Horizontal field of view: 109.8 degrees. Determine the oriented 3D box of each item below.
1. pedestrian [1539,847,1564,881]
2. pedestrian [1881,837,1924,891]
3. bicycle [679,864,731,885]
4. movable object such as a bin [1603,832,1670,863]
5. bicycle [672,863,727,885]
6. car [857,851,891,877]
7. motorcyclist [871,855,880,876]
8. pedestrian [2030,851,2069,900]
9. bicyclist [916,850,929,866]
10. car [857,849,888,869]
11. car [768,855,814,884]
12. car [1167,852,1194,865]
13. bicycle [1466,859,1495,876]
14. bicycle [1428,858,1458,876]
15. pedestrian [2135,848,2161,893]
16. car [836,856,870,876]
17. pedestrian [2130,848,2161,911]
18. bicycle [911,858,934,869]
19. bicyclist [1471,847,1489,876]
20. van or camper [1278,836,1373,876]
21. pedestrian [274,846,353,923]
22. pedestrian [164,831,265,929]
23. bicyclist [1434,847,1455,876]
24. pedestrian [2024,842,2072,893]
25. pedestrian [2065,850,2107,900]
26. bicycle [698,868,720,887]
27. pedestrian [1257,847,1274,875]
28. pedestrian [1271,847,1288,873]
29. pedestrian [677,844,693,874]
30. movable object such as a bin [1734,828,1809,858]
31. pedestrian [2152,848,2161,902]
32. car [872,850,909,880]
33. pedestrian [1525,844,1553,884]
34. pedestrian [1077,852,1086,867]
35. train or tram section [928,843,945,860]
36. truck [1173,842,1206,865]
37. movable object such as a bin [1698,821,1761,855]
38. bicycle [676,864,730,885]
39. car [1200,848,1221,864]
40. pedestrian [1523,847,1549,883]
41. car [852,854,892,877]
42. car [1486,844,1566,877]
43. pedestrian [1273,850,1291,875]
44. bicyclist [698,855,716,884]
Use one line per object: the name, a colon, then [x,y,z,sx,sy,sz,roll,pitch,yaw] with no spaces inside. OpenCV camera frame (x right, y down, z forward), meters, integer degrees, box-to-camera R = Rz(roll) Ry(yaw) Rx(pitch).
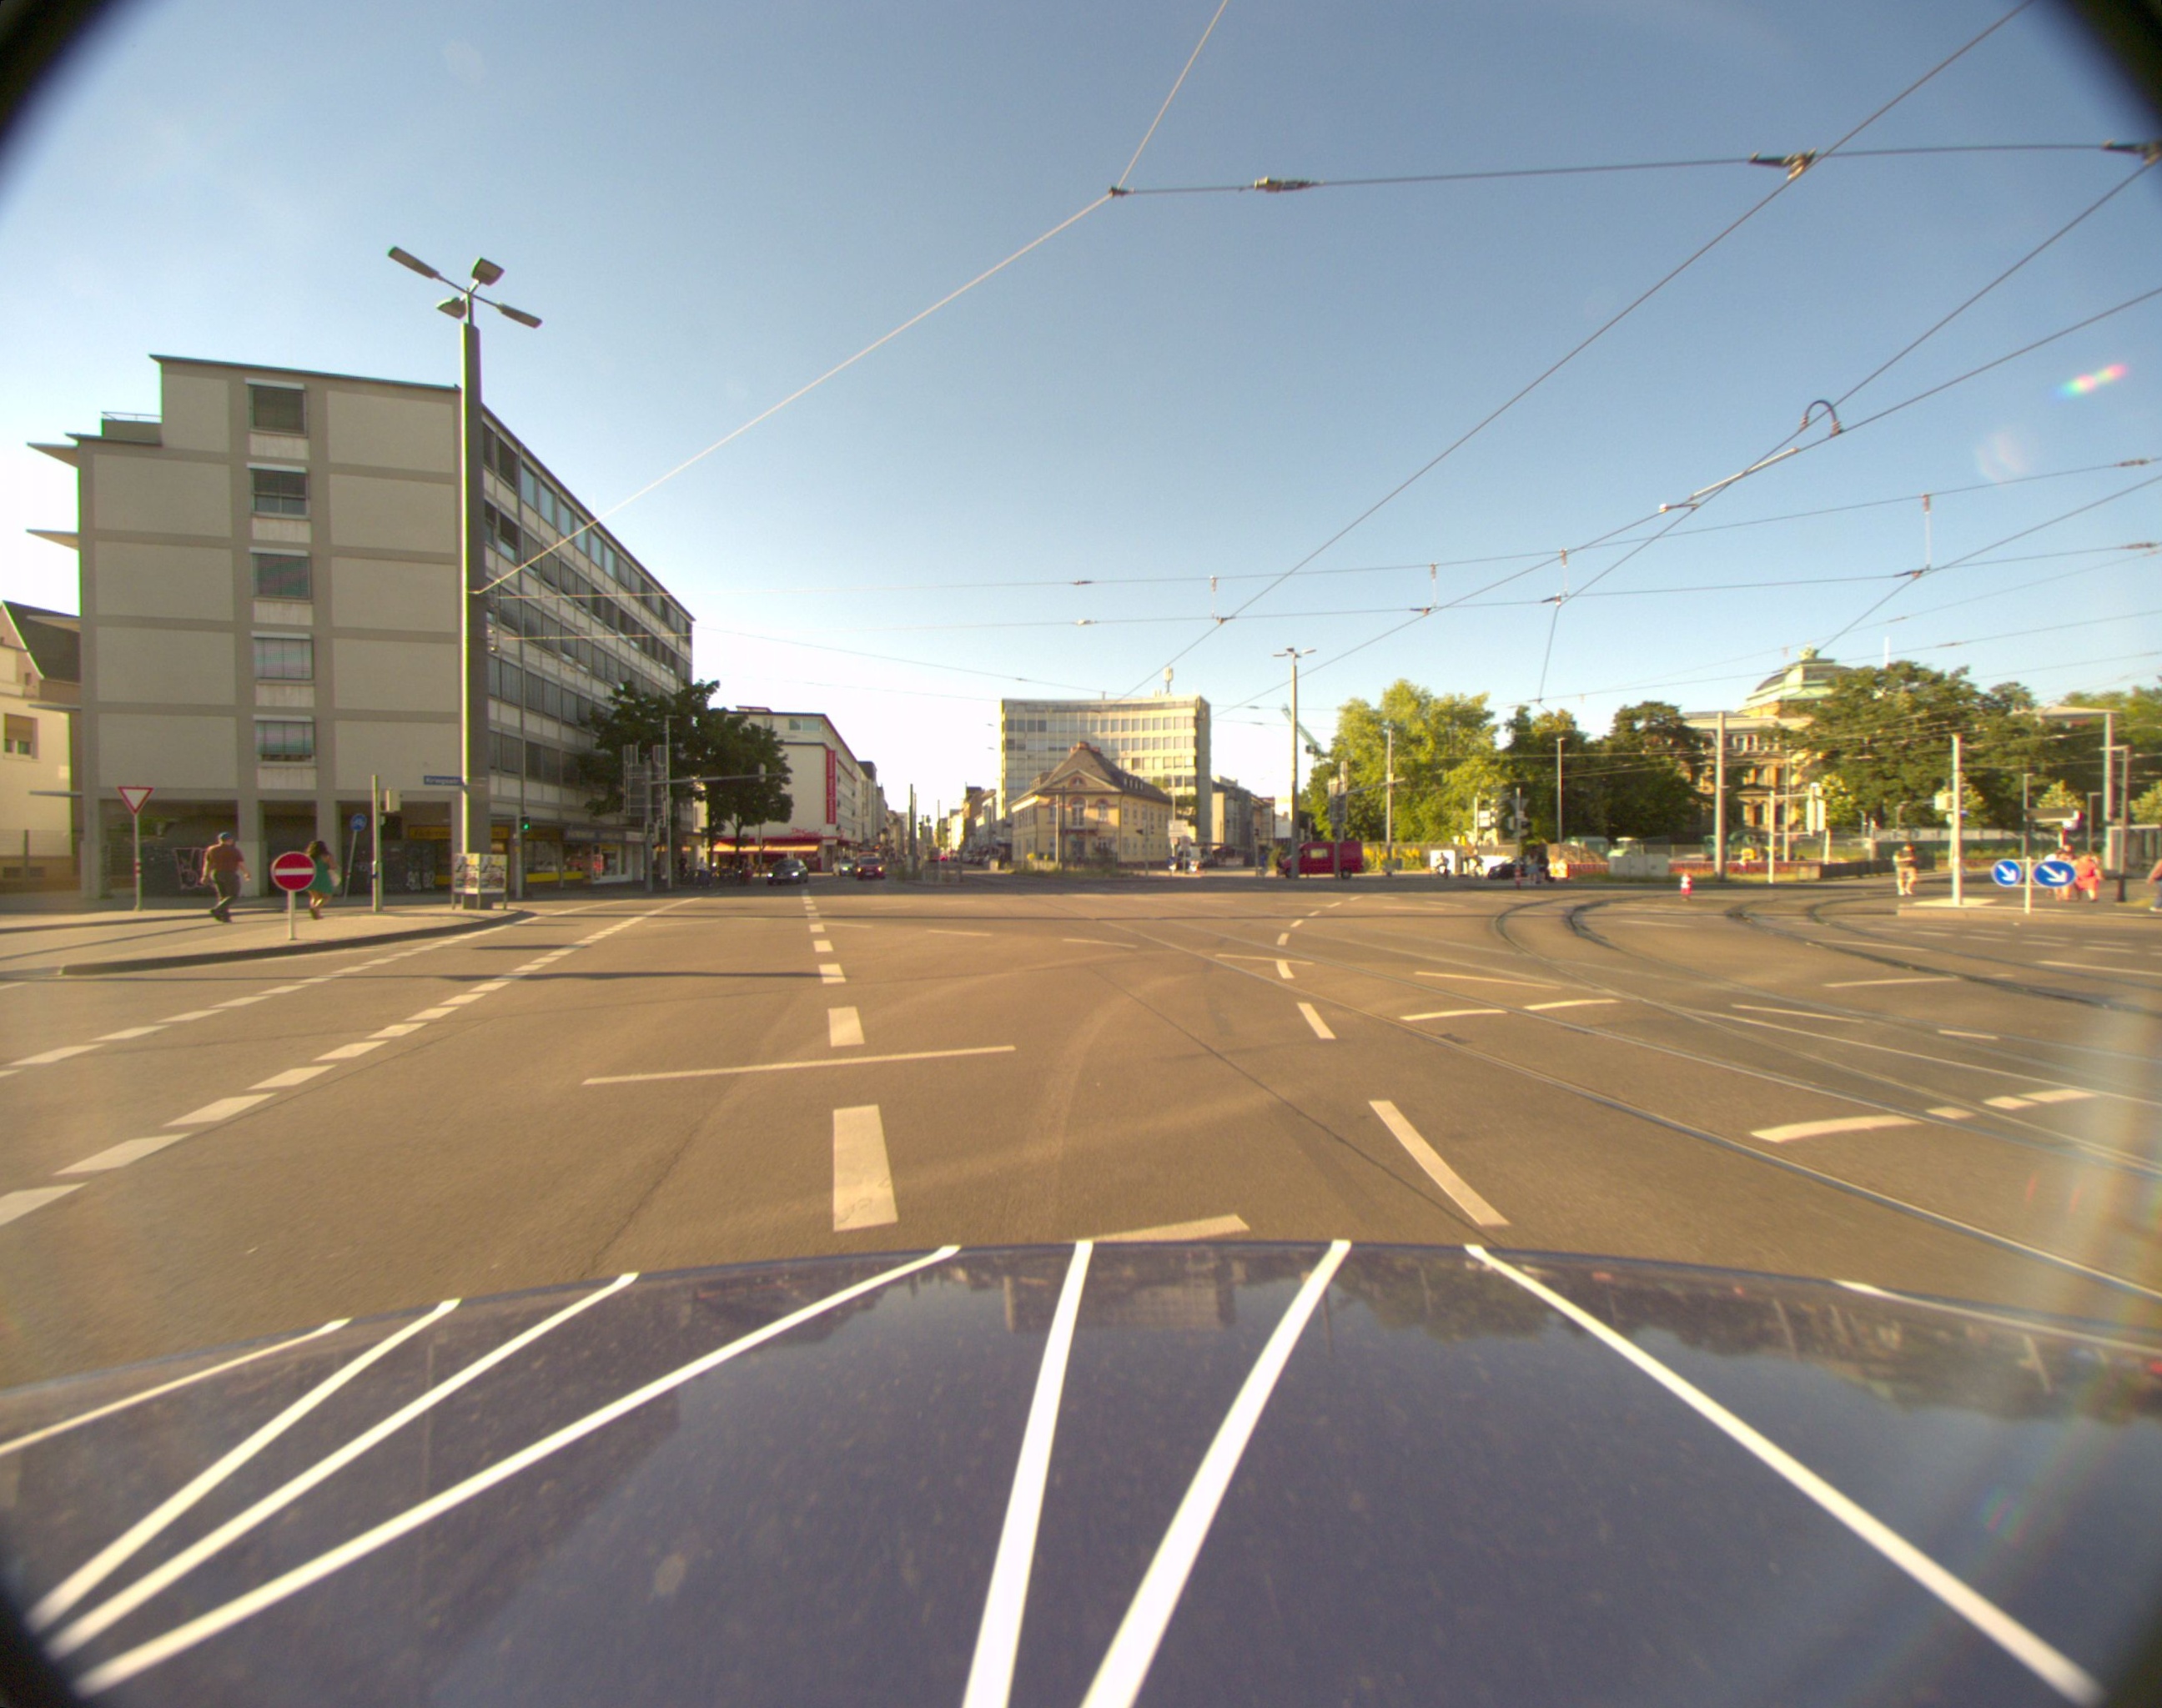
pedestrian: [22.974,0.498,37.143,0.620,1.630,0.787,-1,-1,-19]
pedestrian: [28.594,0.345,26.460,0.620,1.852,0.787,-1,-1,-14]
bicycle: [-21.863,1.189,44.281,2.644,1.136,0.750,2,-2,-23]
movable object such as a bin: [50.046,-0.546,68.434,5.015,2.667,1.998,-1,-1,-13]
bicycle: [-21.129,1.129,42.167,2.644,1.136,0.750,2,-2,-23]
car: [-13.326,0.653,49.023,1.845,1.608,3.996,-1,-1,-12]
motorcyclist: [-14.312,0.794,52.882,0.535,1.499,0.461,-1,-1,-12]
pedestrian: [28.726,0.635,22.542,0.636,1.447,0.526,-2,-1,44]
bicyclist: [-14.580,0.329,69.777,0.722,1.448,0.900,-1,-1,41]
car: [-19.921,0.542,72.730,1.903,1.831,4.626,-1,-1,-3]
car: [-16.764,0.901,44.034,1.845,1.608,4.077,-1,-1,-12]
car: [11.007,0.546,83.885,1.710,1.356,4.203,-1,-1,25]
bicycle: [24.484,0.826,46.561,1.695,0.995,0.542,-1,-1,-22]
bicycle: [21.937,0.778,46.081,1.810,1.094,0.542,-1,-1,-22]
pedestrian: [37.940,0.568,26.659,0.840,1.574,0.684,-1,-1,10]
car: [-18.585,0.986,61.737,1.847,1.608,3.991,-1,-1,-29]
pedestrian: [26.699,0.611,18.701,0.786,1.526,0.620,-1,-1,13]
bicycle: [-14.546,0.857,69.785,0.722,0.942,1.996,-2,-1,41]
bicyclist: [24.415,0.454,46.503,0.793,1.735,0.615,-1,-1,-22]
van or camper: [16.257,0.168,50.895,5.902,2.514,2.003,-1,-1,15]
pedestrian: [-14.905,0.577,14.783,0.857,1.444,0.706,-1,-1,-21]
pedestrian: [-17.189,0.502,15.113,0.857,1.872,1.196,-1,-1,-21]
bicyclist: [22.114,0.438,46.172,1.061,1.757,0.542,-1,-1,-22]
pedestrian: [32.564,0.463,25.586,0.620,1.688,0.787,-1,-1,-14]
pedestrian: [29.190,0.611,22.081,0.636,1.423,0.526,-1,-1,42]
bicycle: [-19.104,1.198,39.054,0.671,0.934,2.028,-1,-1,-18]
pedestrian: [11.842,0.445,48.697,0.695,1.782,1.044,-1,-1,35]
pedestrian: [12.646,0.380,48.327,0.695,1.672,1.044,-1,-1,35]
pedestrian: [-25.987,0.328,49.873,0.715,2.001,0.627,-1,0,-8]
movable object such as a bin: [66.682,-1.059,73.442,5.866,2.799,1.999,-1,-1,-7]
pedestrian: [32.159,0.613,22.257,0.685,1.574,0.840,-1,-1,-30]
car: [-10.817,0.619,43.379,1.845,1.608,3.996,-1,-1,-12]
pedestrian: [21.390,0.482,35.484,0.898,1.789,0.790,-6,-5,38]
pedestrian: [0.055,0.579,80.198,0.684,1.632,0.819,-1,-1,23]
train or tram section: [-35.098,-0.596,184.381,3.716,3.811,13.345,-1,0,-11]
truck: [12.848,-0.054,89.298,2.295,2.533,5.650,-1,-1,25]
movable object such as a bin: [65.769,-1.583,77.109,5.376,3.309,1.998,-1,-1,-13]
bicycle: [-21.514,1.165,43.303,2.644,1.136,0.750,2,-2,-23]
car: [16.865,0.307,98.599,1.710,1.968,3.769,-1,-1,25]
pedestrian: [21.115,0.525,35.255,0.897,1.630,0.790,-1,-1,38]
car: [-15.779,0.882,57.239,1.847,1.608,3.991,-1,-1,-31]
car: [28.803,0.436,49.319,3.994,2.001,2.002,-1,-1,9]
pedestrian: [14.521,0.637,54.883,0.762,1.751,1.006,-1,-1,-23]
bicyclist: [-18.988,0.794,38.573,0.671,1.415,0.680,-1,-1,-18]
